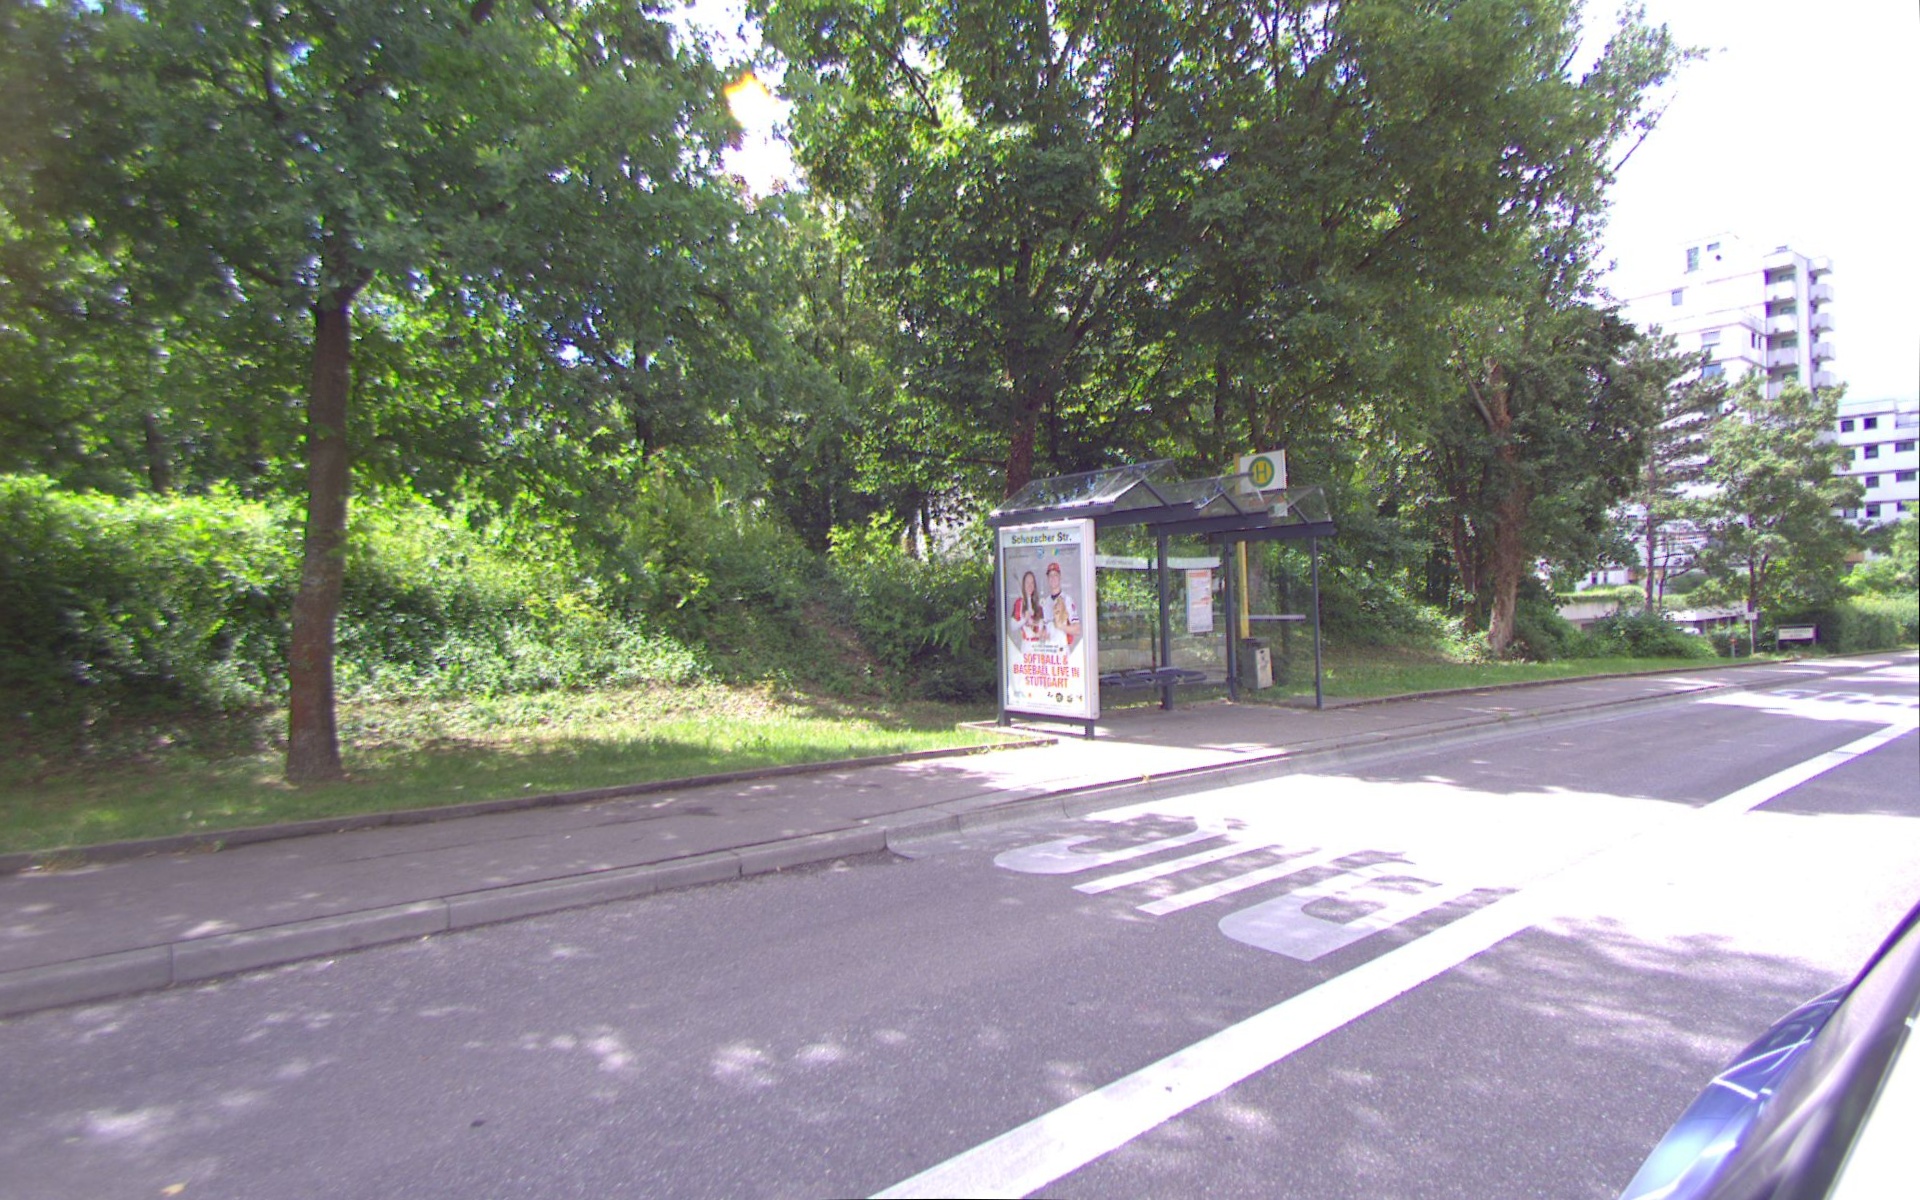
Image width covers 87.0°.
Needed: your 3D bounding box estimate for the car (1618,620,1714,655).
[{"bbox_3d":[44.543,2.324,63.950,1.961,2.039,4.550,0,0,-33],"label":"car"}]
